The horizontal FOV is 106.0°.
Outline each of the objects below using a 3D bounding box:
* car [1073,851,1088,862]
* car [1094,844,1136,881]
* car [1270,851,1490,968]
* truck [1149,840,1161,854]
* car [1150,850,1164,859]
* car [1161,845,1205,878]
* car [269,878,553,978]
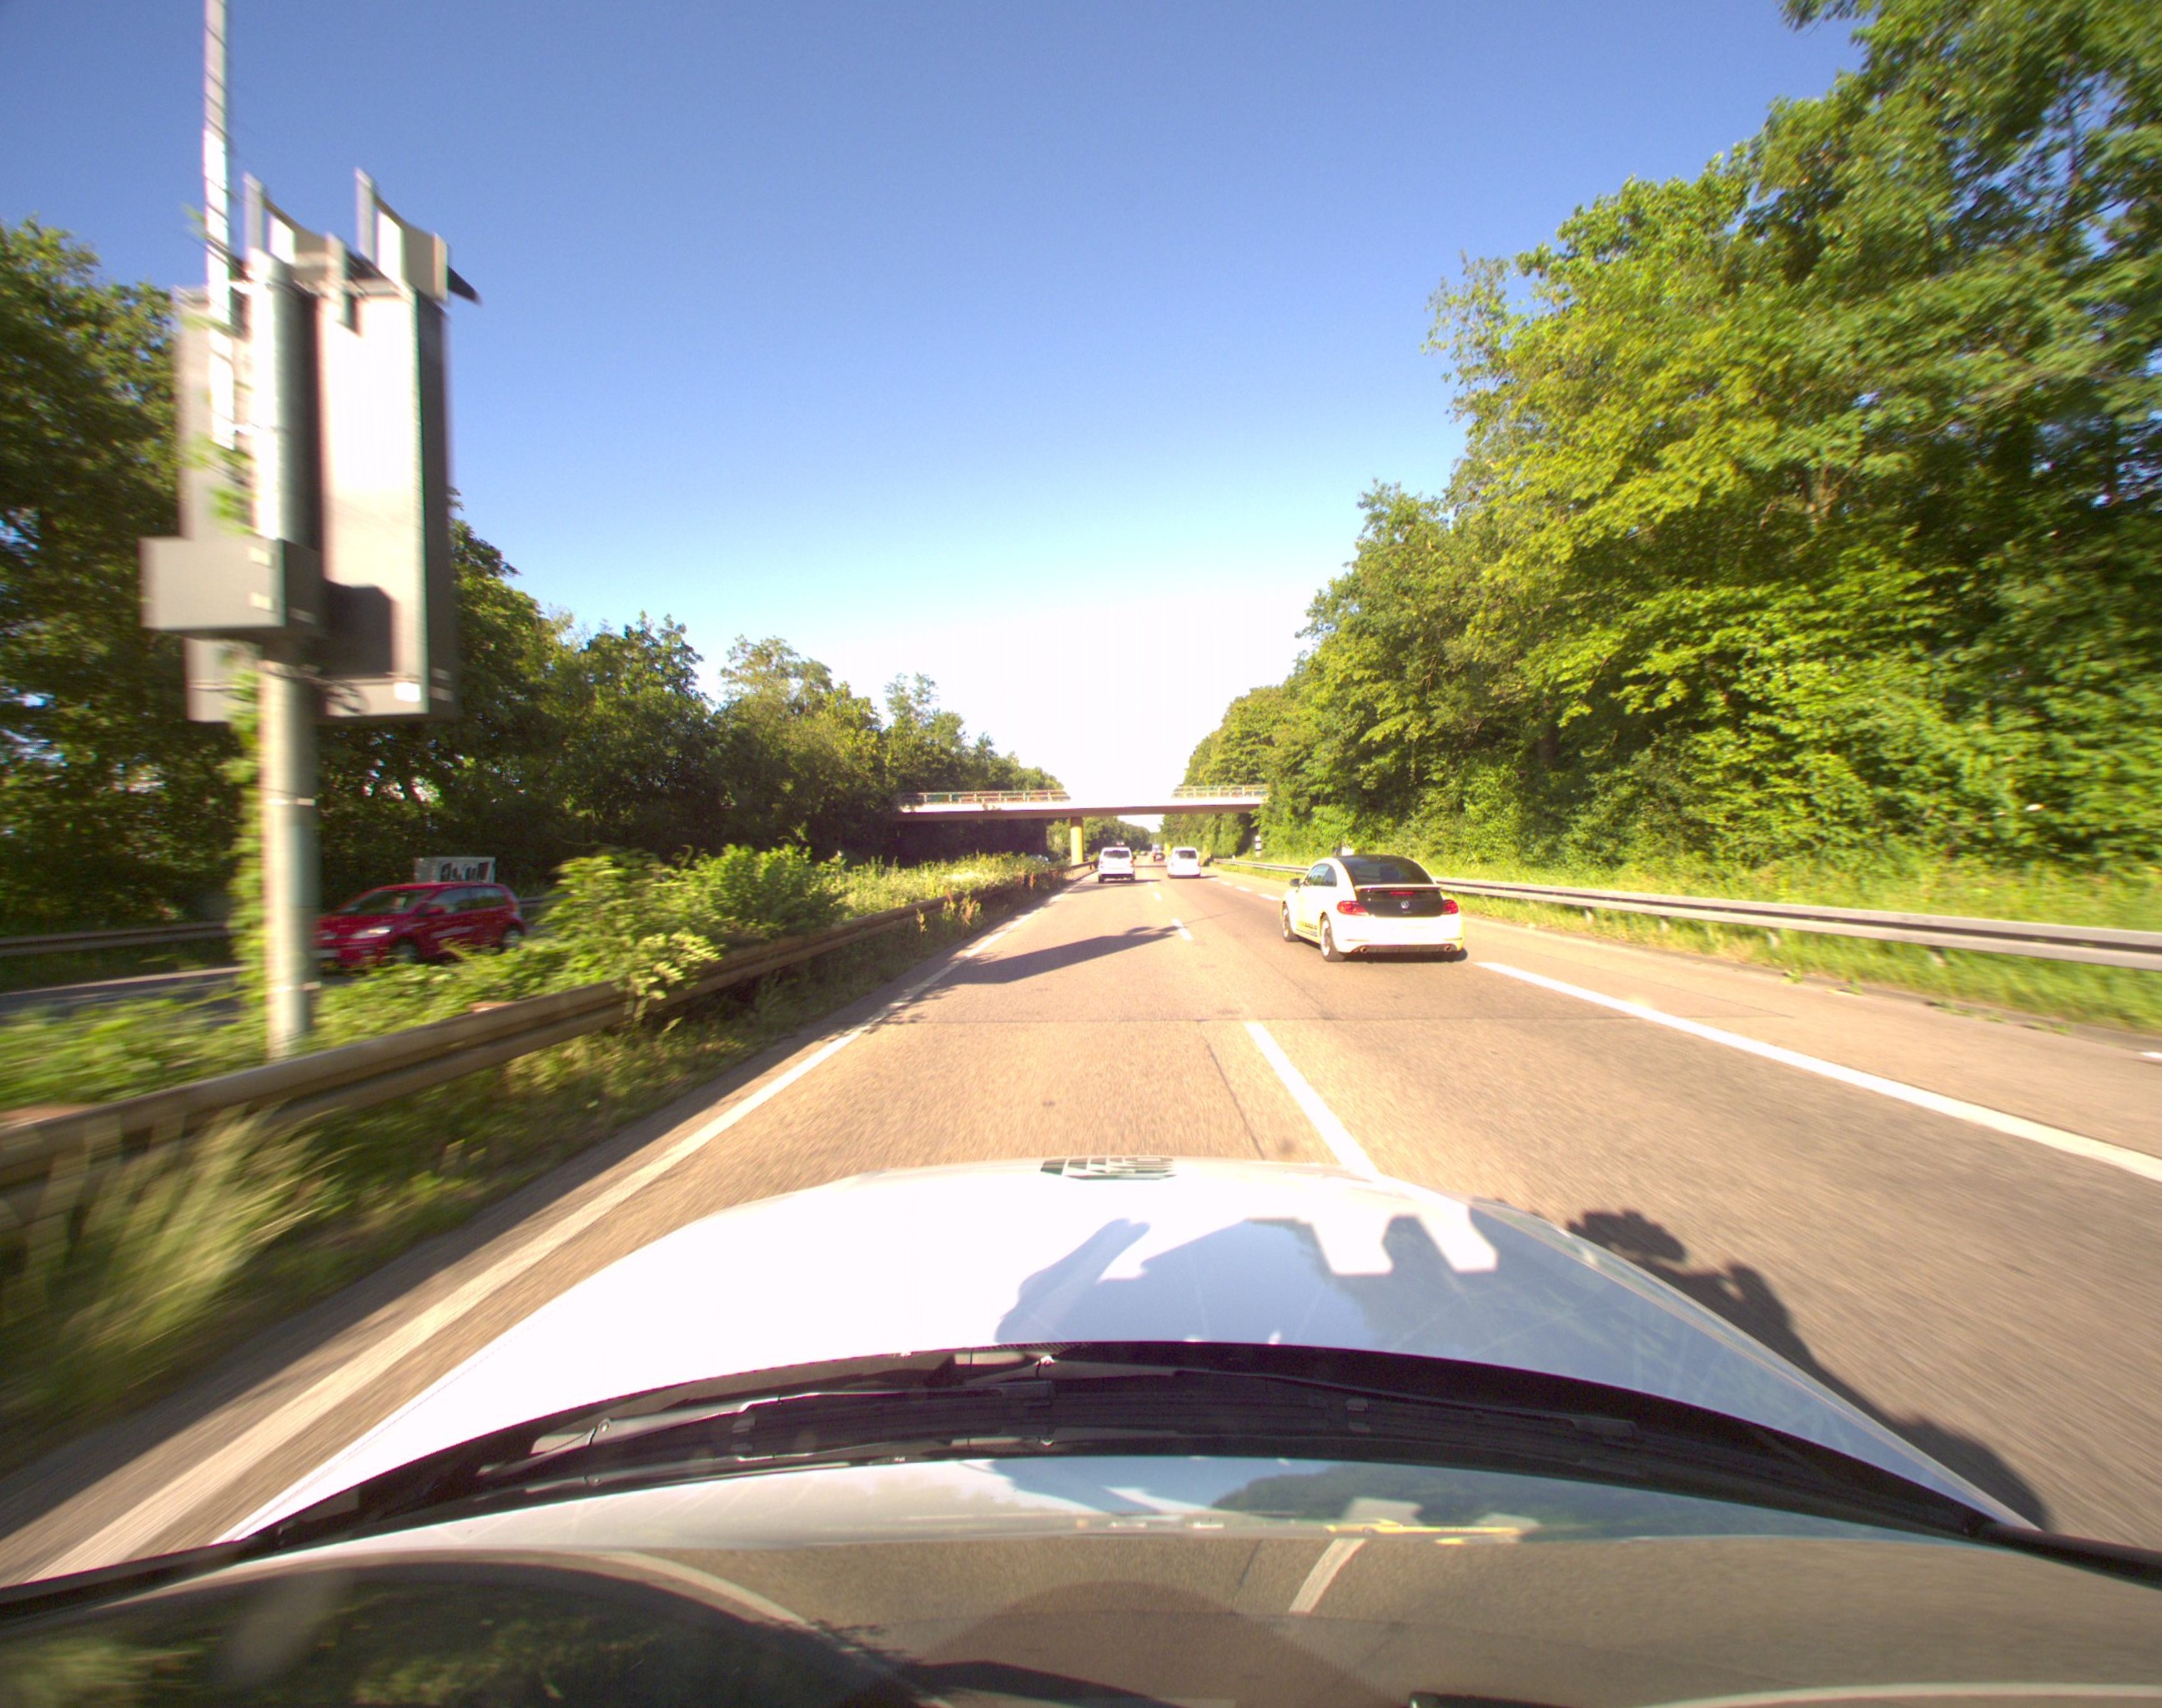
[{"bbox_3d":[-0.020,0.387,128.594,1.952,1.724,4.597,-2,0,4],"label":"car"},{"bbox_3d":[1.697,0.413,41.573,2.078,1.828,4.001,0,0,1],"label":"car"},{"bbox_3d":[4.293,0.695,12.512,1.873,1.461,4.357,-1,0,1],"label":"car"},{"bbox_3d":[22.547,-2.156,247.600,3.479,4.172,8.873,-2,0,5],"label":"truck"},{"bbox_3d":[11.530,0.074,123.764,1.984,1.398,4.005,-2,0,5],"label":"car"},{"bbox_3d":[5.913,0.407,47.853,1.859,1.770,4.466,-2,0,-2],"label":"car"},{"bbox_3d":[-12.015,1.236,15.039,1.702,1.424,4.134,-2,0,1],"label":"car"}]
